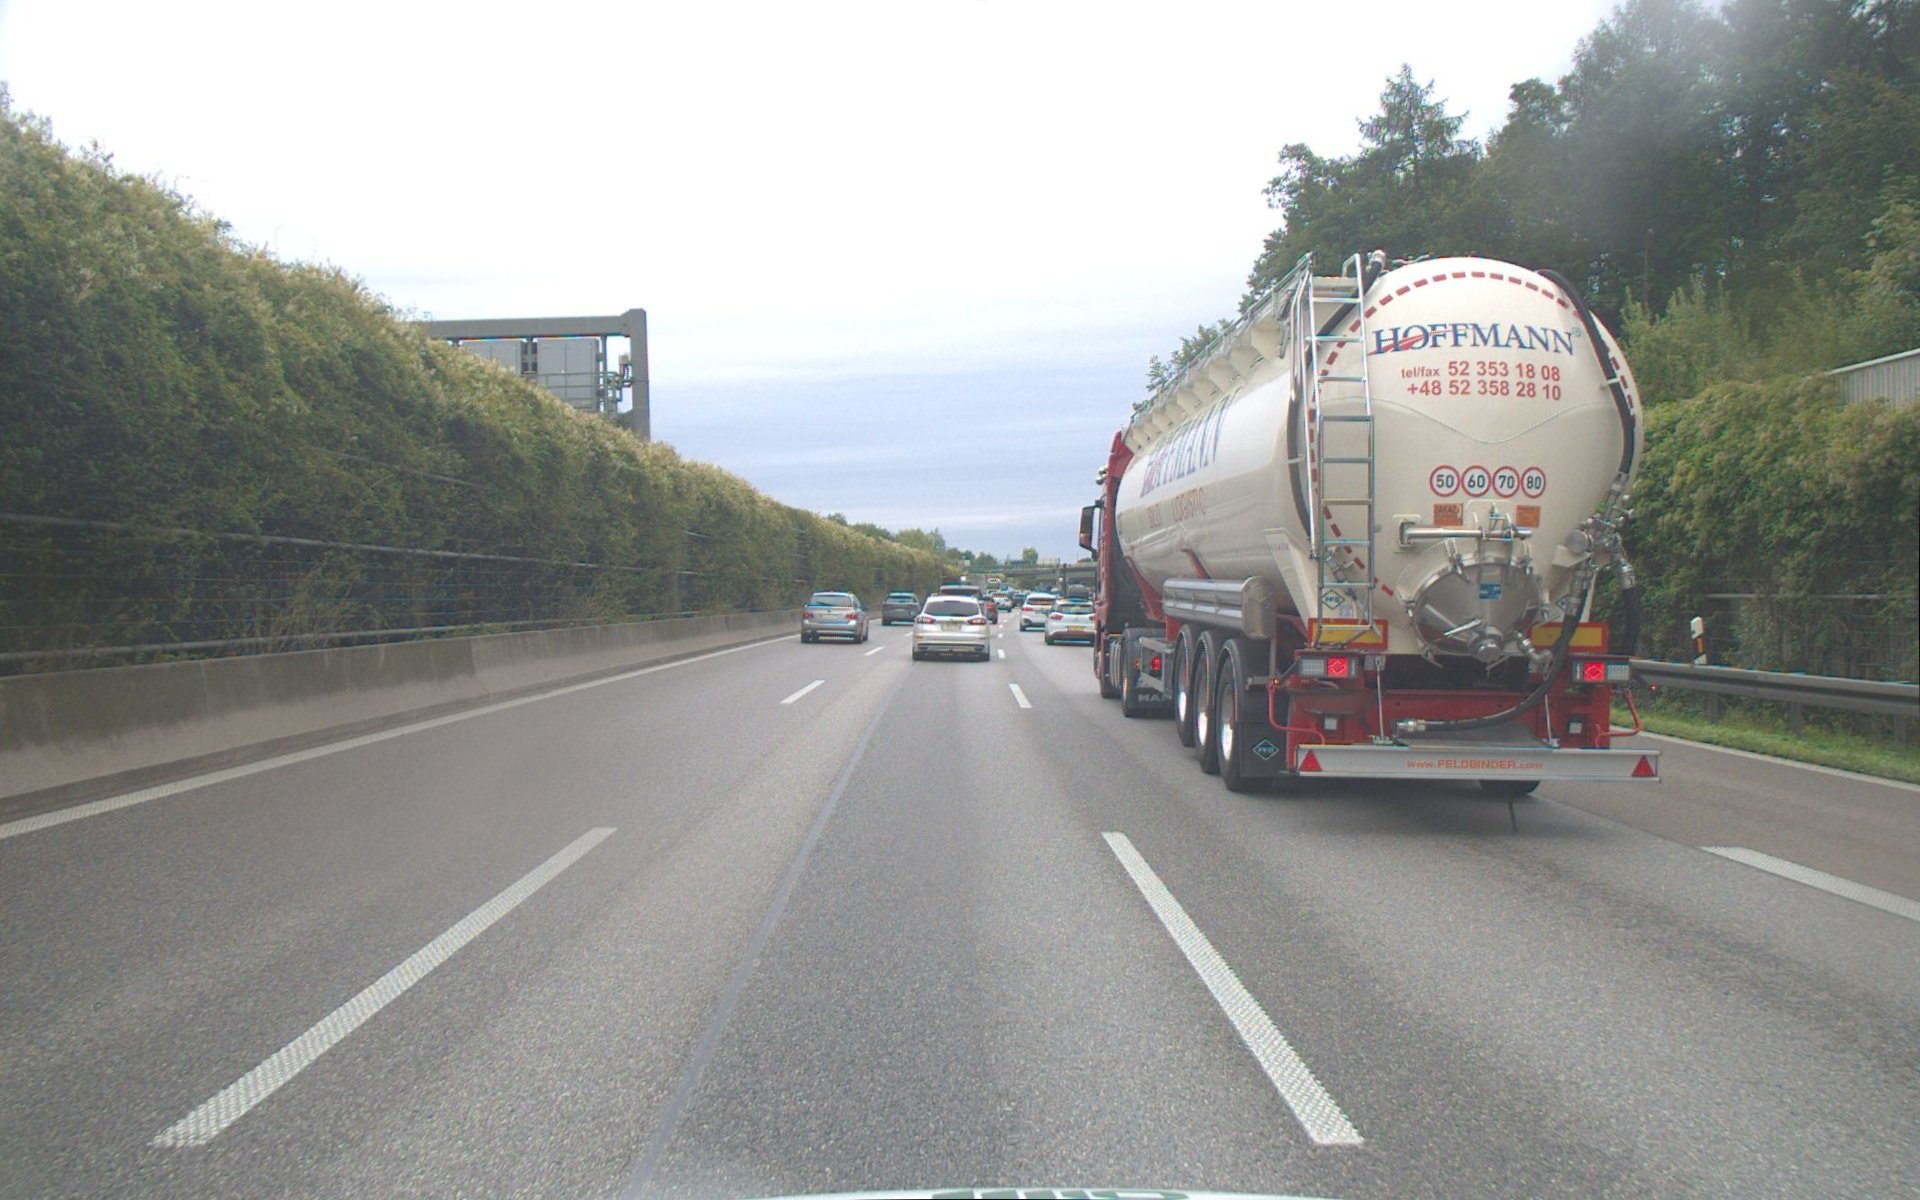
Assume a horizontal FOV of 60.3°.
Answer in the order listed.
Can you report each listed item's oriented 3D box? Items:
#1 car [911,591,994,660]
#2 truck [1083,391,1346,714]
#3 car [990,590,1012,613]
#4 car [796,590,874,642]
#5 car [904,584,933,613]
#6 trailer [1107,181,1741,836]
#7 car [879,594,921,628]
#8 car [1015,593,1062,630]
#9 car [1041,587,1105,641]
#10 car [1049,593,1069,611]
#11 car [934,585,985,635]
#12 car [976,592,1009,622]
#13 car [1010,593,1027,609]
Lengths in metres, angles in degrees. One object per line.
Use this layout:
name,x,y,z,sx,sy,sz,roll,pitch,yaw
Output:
car,-0.118,0.564,39.631,1.852,1.530,5.031,0,0,1
truck,3.387,-0.574,23.674,2.640,3.981,6.554,0,0,-1
car,3.286,0.109,133.585,1.753,1.811,3.872,-1,0,1
car,-3.723,0.495,50.063,1.684,1.495,5.032,0,-1,3
car,-2.965,-0.099,117.603,1.953,2.049,3.840,0,0,-2
trailer,3.433,-0.534,16.700,2.614,4.008,13.128,0,0,0
car,-2.767,0.475,76.688,1.684,1.538,5.030,0,0,1
car,3.328,0.476,70.612,1.655,1.533,3.869,0,0,-2
car,3.547,0.424,52.661,1.778,1.654,5.031,0,0,1
car,8.704,0.163,146.077,1.654,1.566,3.872,0,1,2
car,-0.052,0.338,58.848,1.655,1.532,3.871,4,1,-1
car,1.672,0.348,84.744,1.654,1.533,3.872,0,0,1
car,5.814,0.087,163.263,1.653,1.566,3.873,0,1,3
